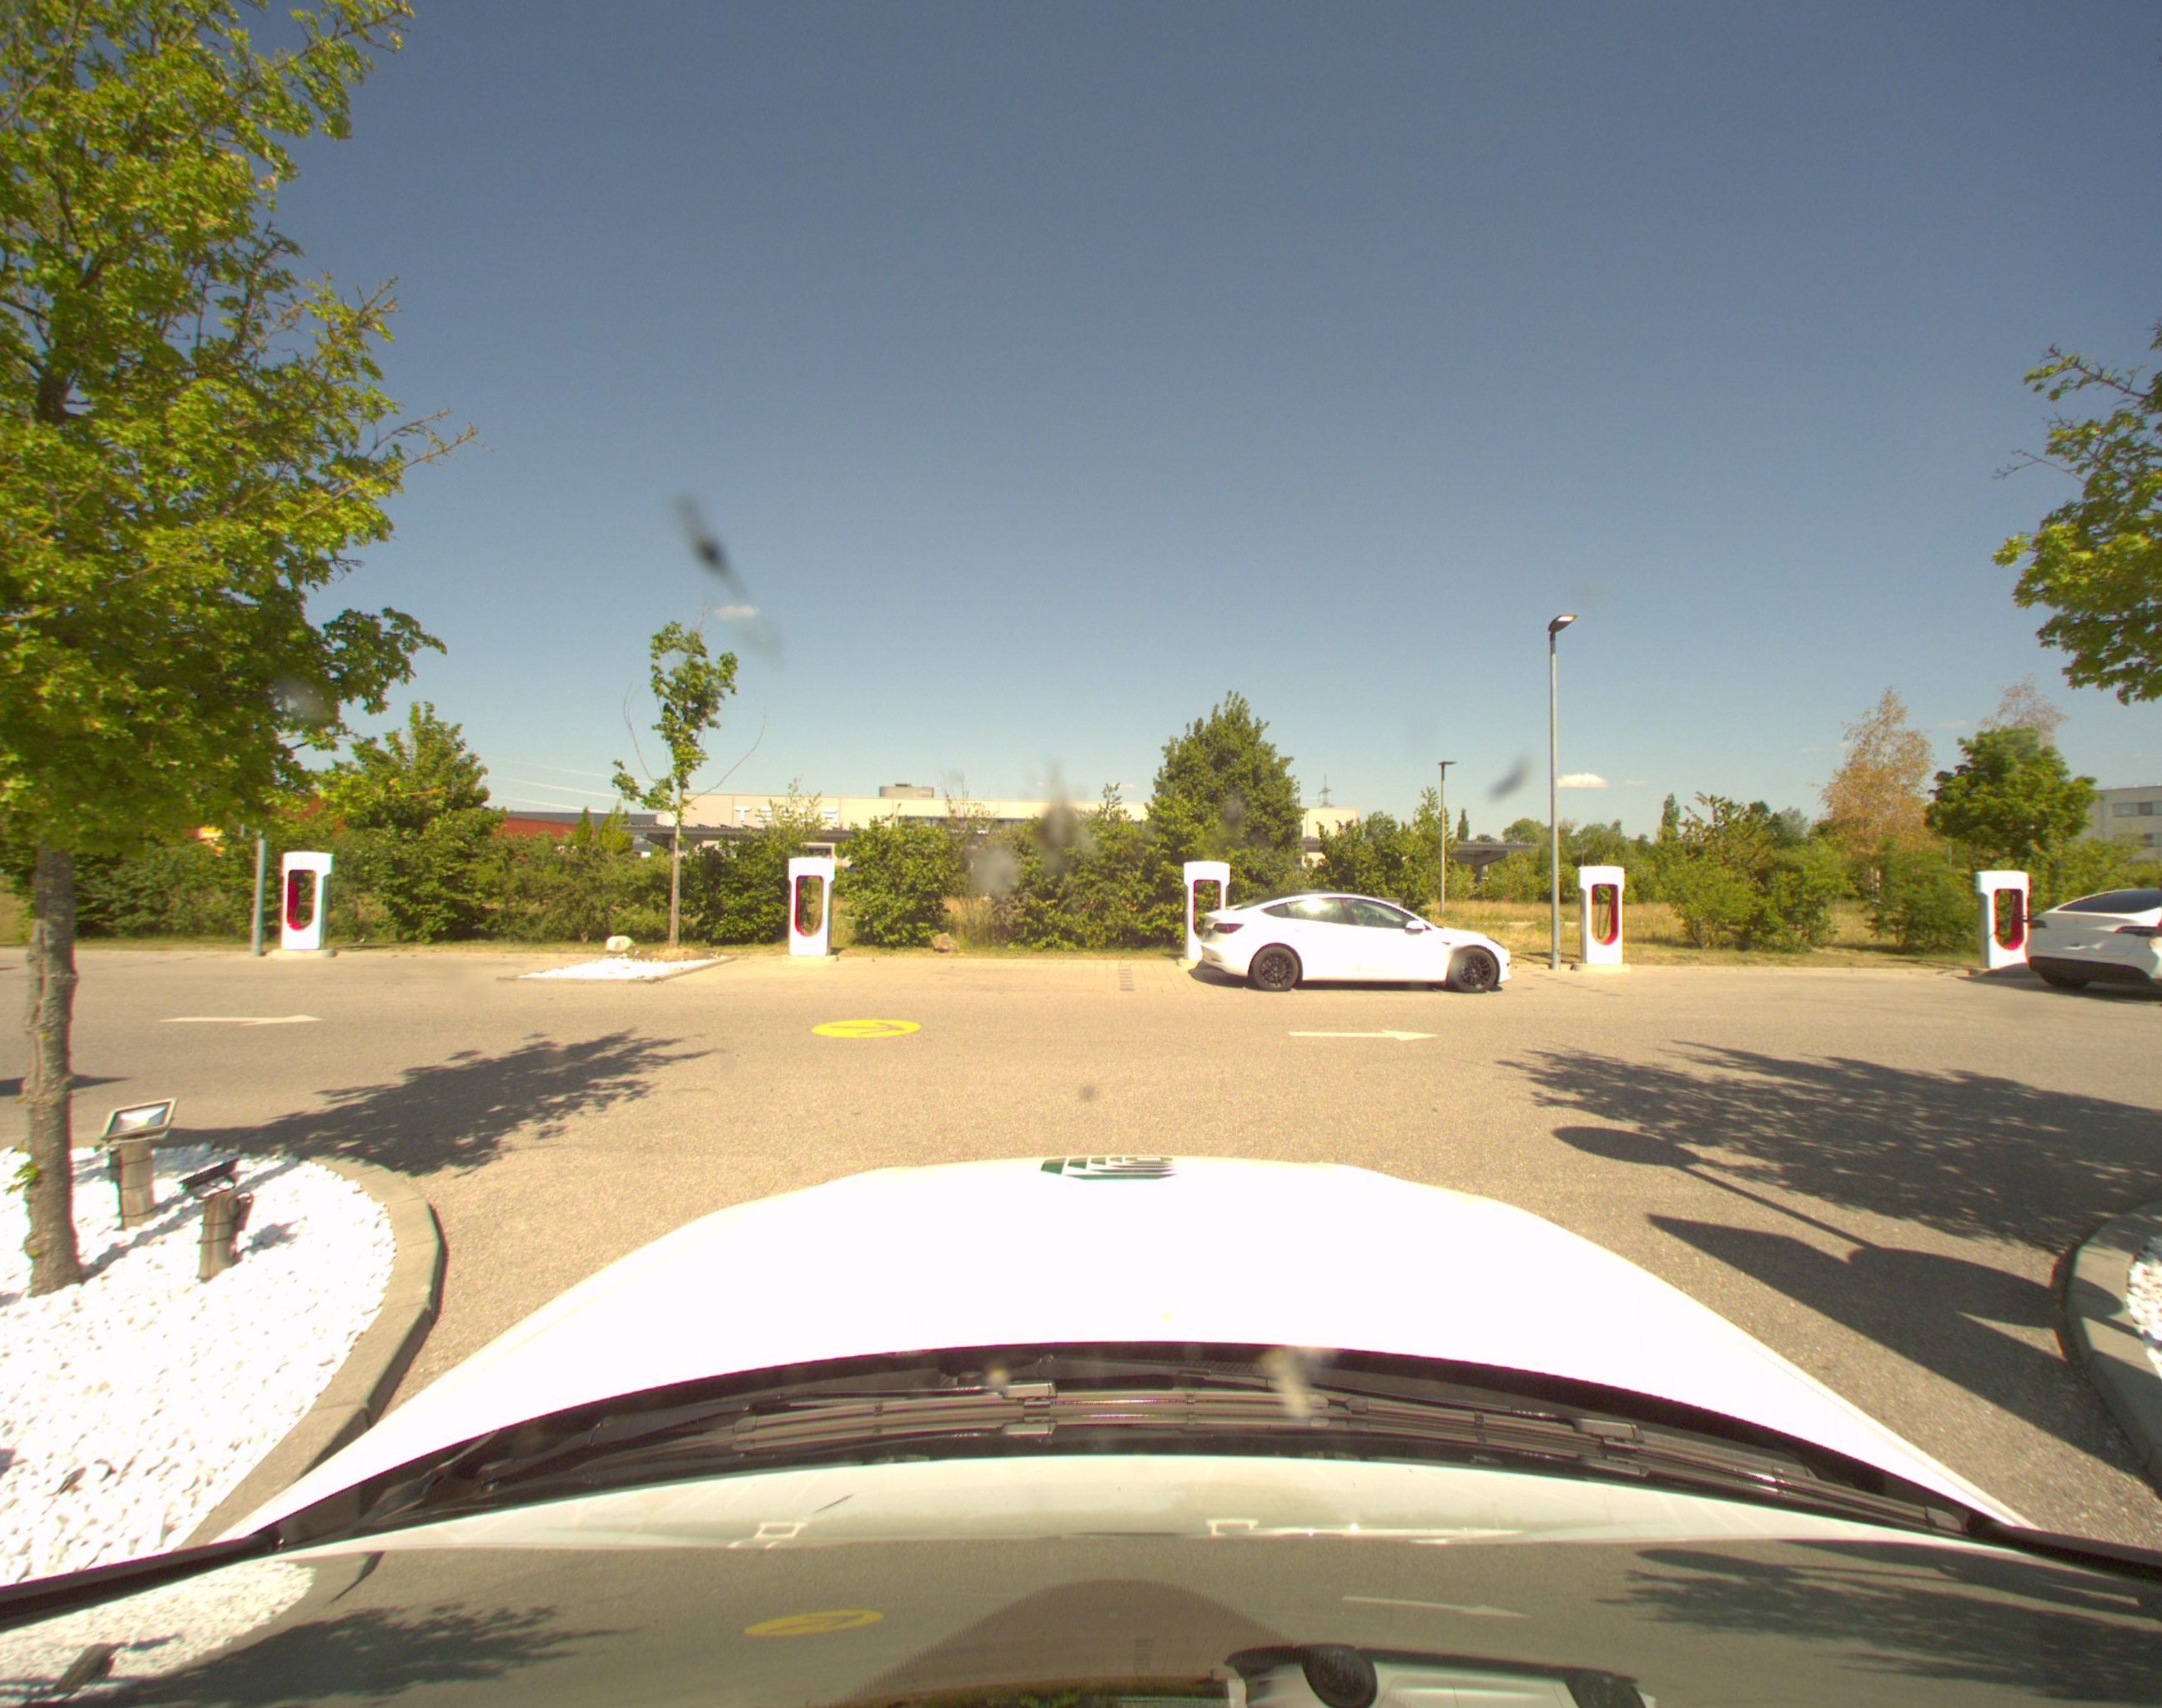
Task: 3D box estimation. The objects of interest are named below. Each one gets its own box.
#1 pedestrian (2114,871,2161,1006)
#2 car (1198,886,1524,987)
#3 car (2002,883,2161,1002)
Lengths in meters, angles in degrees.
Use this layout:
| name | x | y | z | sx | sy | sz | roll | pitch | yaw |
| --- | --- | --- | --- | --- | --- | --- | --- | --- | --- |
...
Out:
| name | x | y | z | sx | sy | sz | roll | pitch | yaw |
| --- | --- | --- | --- | --- | --- | --- | --- | --- | --- |
| pedestrian | 15.036 | 1.147 | 11.075 | 1.028 | 1.800 | 0.737 | 0 | -1 | 1 |
| car | 4.120 | 1.210 | 12.546 | 4.417 | 1.378 | 1.823 | 0 | -2 | 1 |
| car | 17.039 | 1.267 | 12.273 | 4.466 | 1.600 | 1.867 | 0 | -1 | -4 |
